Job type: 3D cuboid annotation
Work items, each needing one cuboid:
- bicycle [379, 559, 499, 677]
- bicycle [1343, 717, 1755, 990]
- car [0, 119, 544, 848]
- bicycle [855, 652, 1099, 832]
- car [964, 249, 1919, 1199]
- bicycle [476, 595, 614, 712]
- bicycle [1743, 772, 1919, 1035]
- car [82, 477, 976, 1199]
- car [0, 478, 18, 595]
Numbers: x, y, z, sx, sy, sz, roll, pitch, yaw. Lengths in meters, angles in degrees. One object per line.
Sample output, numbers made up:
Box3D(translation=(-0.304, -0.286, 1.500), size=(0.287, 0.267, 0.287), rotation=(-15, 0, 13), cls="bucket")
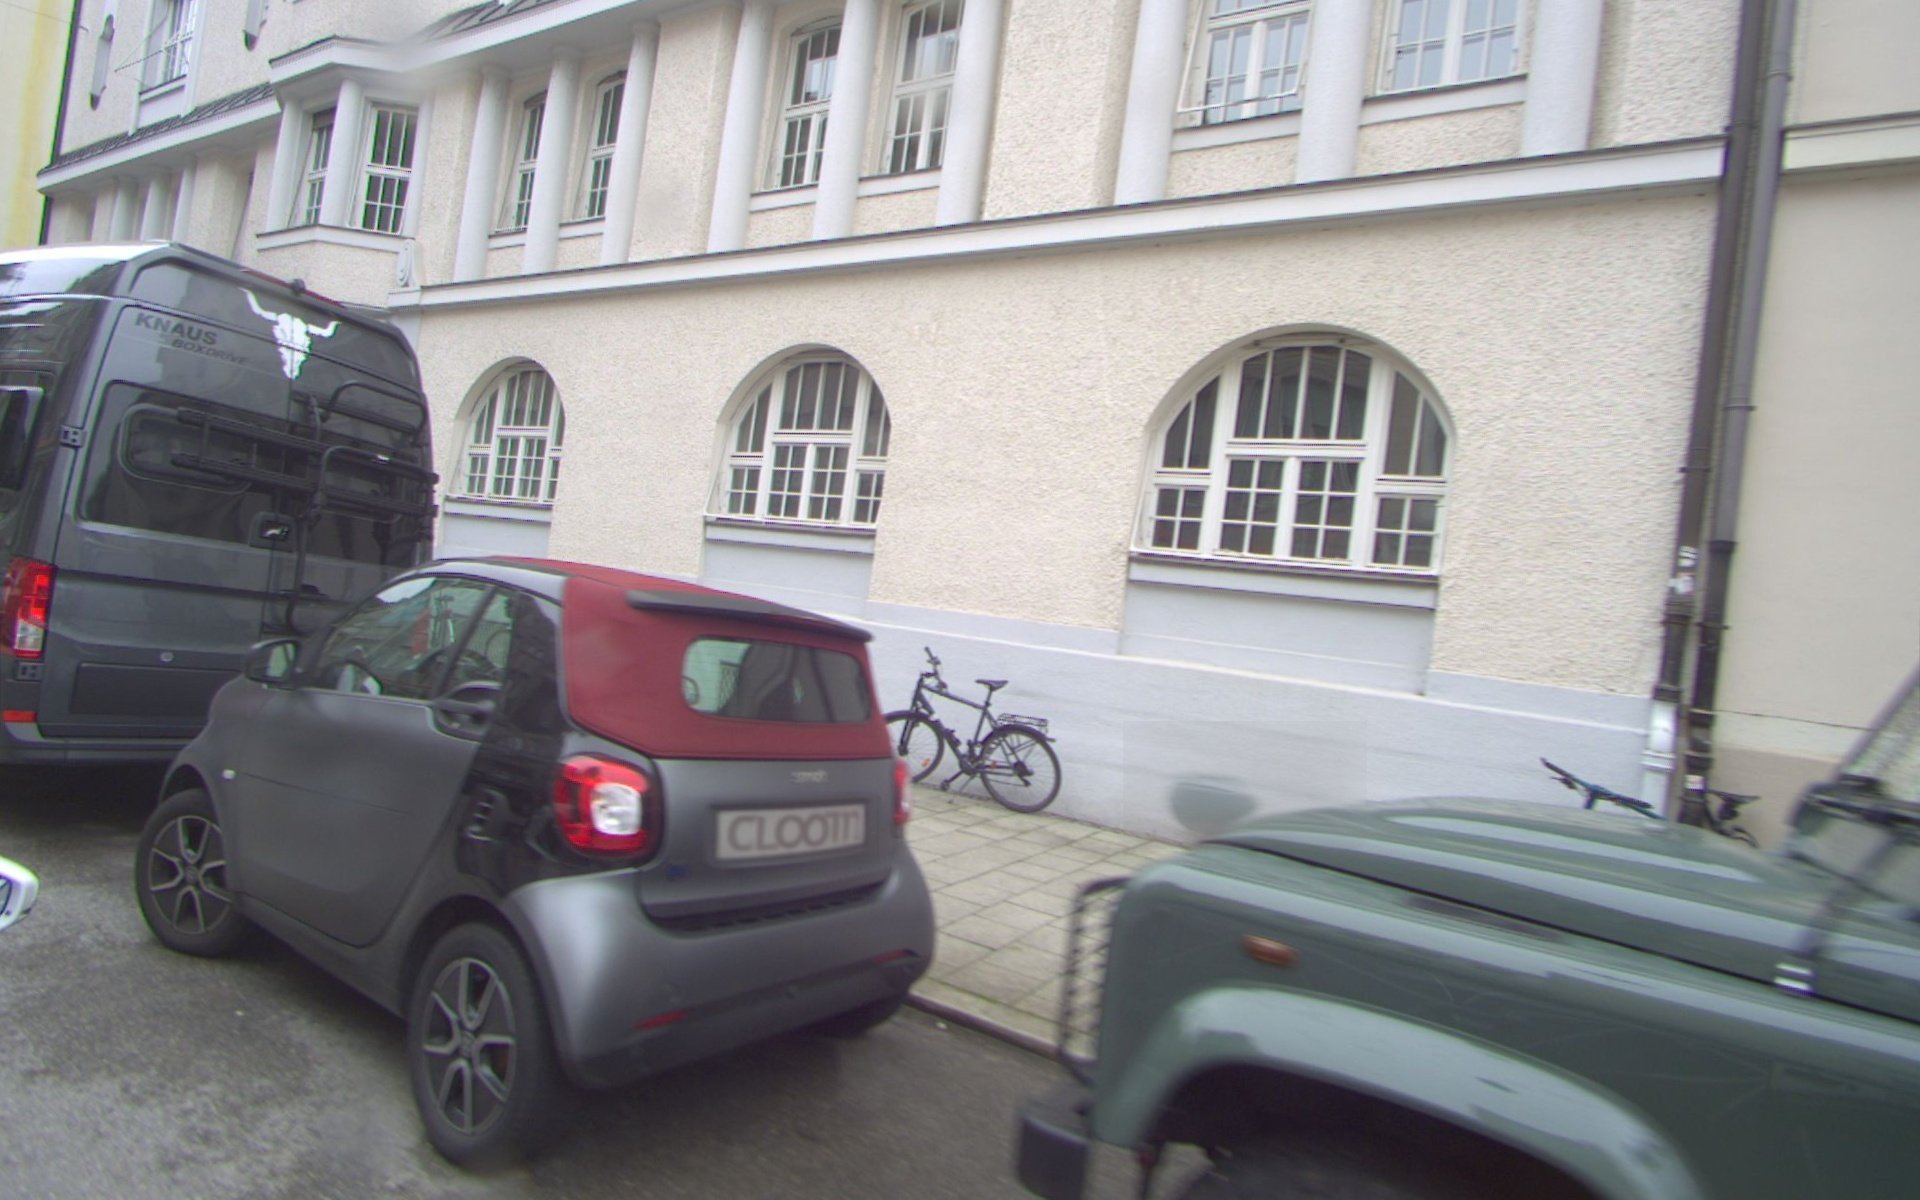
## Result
Box3D(translation=(-6.050, 0.183, 11.631), size=(1.763, 1.164, 0.481), rotation=(6, -1, 41), cls="bicycle")
Box3D(translation=(3.444, 1.419, 6.054), size=(1.935, 1.130, 0.647), rotation=(7, -1, 32), cls="bicycle")
Box3D(translation=(-5.811, -0.601, 6.610), size=(6.031, 2.993, 2.260), rotation=(6, -3, 31), cls="car")
Box3D(translation=(0.112, 1.062, 7.978), size=(1.758, 1.083, 0.651), rotation=(7, 2, 32), cls="bicycle")
Box3D(translation=(2.226, 0.774, 1.507), size=(4.004, 2.063, 1.799), rotation=(7, -2, 32), cls="car")
Box3D(translation=(-4.652, 0.575, 11.230), size=(1.758, 1.083, 0.389), rotation=(7, 1, 32), cls="bicycle")
Box3D(translation=(5.165, 1.601, 4.930), size=(1.935, 1.130, 0.642), rotation=(7, -1, 32), cls="bicycle")
Box3D(translation=(-1.604, 0.566, 3.624), size=(2.770, 1.644, 1.544), rotation=(7, -2, 34), cls="car")
Box3D(translation=(-11.530, -0.634, 9.947), size=(4.597, 1.707, 1.998), rotation=(7, -3, 32), cls="car")
